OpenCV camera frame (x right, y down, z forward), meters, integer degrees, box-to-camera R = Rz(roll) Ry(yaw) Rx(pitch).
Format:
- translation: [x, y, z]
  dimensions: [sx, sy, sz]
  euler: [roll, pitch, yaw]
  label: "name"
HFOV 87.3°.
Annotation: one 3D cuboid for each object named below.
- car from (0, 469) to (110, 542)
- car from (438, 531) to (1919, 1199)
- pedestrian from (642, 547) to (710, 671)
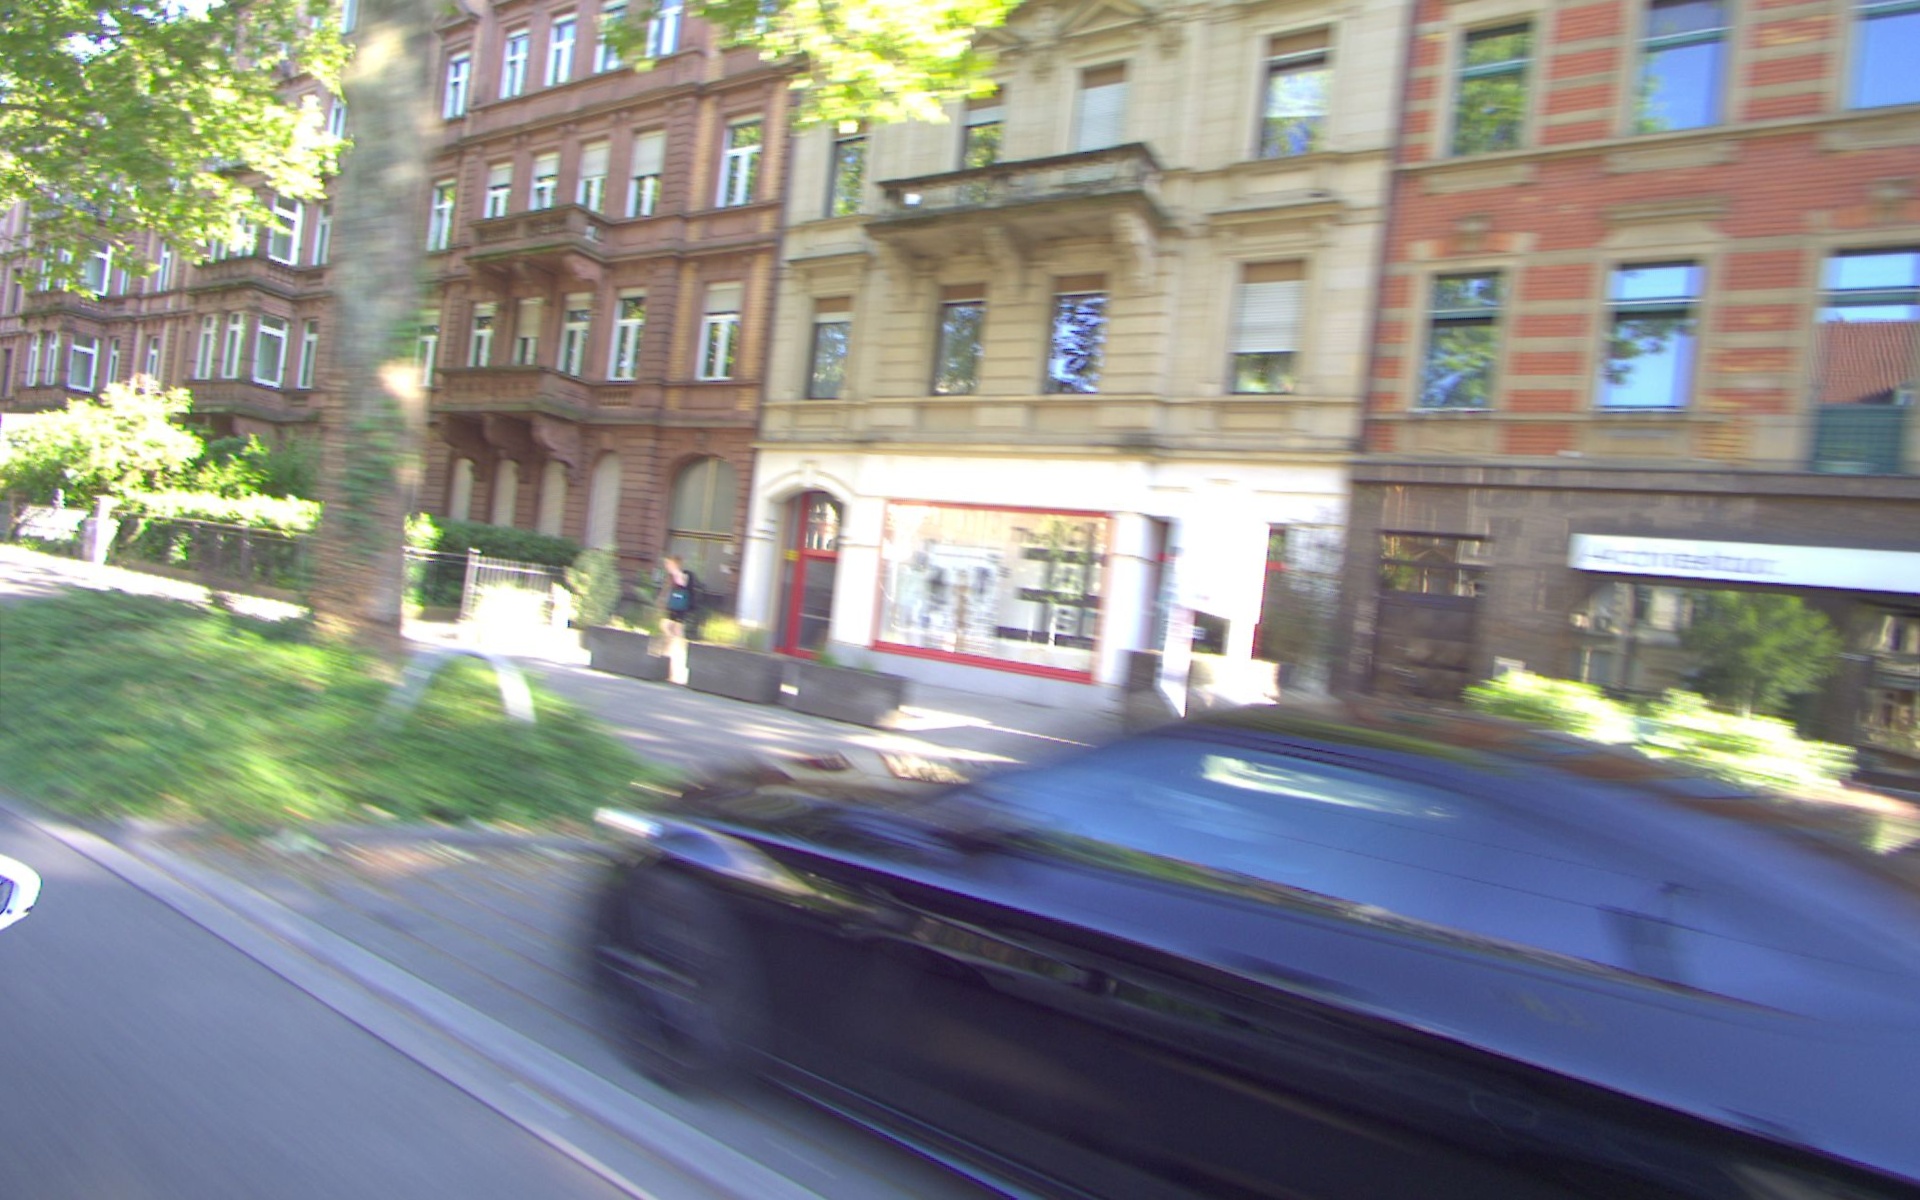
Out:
- translation: [-30.397, -3.126, 32.353]
  dimensions: [1.966, 2.040, 4.179]
  euler: [7, 1, 30]
  label: "car"
- translation: [0.708, 0.834, 2.920]
  dimensions: [4.727, 1.555, 1.734]
  euler: [7, -1, 33]
  label: "car"
- translation: [-4.911, 0.162, 17.405]
  dimensions: [0.623, 2.038, 0.673]
  euler: [7, 0, 31]
  label: "pedestrian"
